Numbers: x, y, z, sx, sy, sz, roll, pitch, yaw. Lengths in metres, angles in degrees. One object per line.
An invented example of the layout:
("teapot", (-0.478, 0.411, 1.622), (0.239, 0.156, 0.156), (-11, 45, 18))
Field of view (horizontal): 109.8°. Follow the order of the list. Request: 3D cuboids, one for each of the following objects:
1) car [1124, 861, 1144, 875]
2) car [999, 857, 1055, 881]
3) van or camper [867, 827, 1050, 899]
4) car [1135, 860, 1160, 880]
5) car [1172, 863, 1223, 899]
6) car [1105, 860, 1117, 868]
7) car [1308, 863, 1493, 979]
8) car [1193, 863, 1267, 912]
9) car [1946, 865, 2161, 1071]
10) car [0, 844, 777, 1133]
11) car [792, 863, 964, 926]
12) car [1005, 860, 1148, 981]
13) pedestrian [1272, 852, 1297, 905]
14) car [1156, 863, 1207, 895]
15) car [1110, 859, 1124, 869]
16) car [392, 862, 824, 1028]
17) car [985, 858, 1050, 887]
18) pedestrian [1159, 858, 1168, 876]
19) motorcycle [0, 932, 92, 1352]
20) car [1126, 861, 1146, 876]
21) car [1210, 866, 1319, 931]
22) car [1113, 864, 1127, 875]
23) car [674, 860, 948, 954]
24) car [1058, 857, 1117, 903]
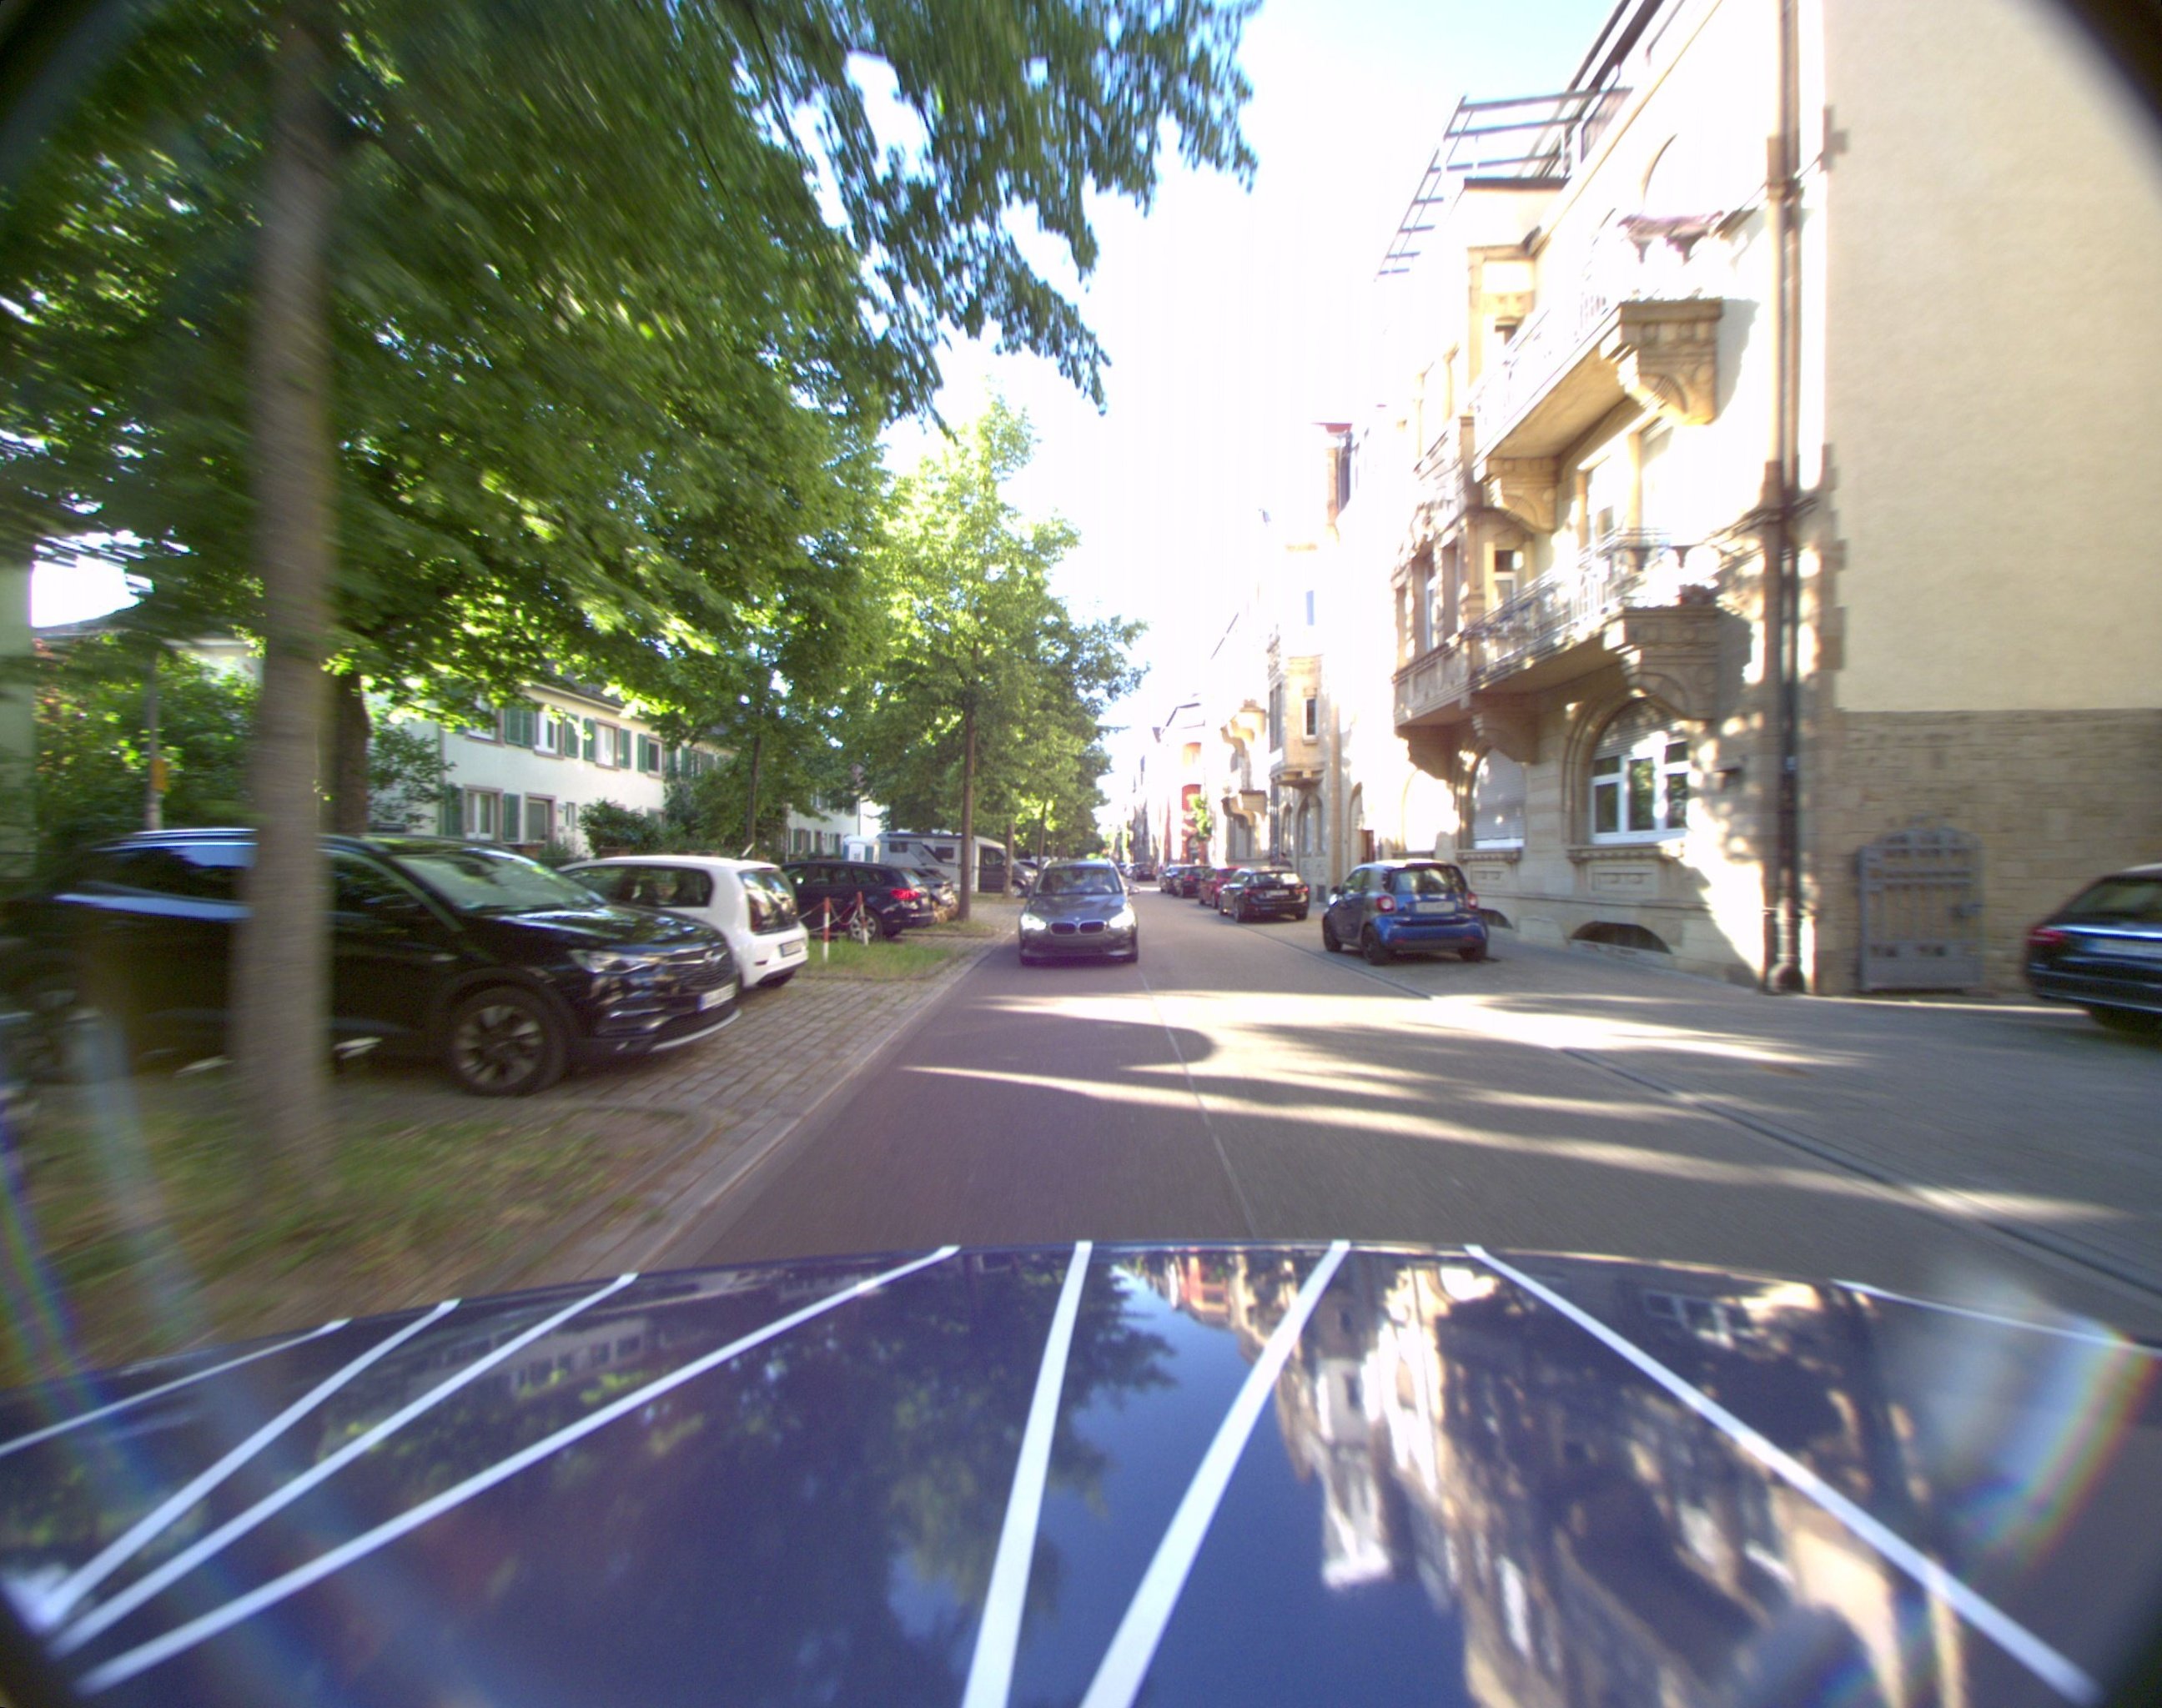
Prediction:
("car", (5.967, 1.589, 86.459), (1.998, 1.514, 4.000), (-2, 0, 1))
("car", (-4.231, 1.163, 59.617), (3.994, 1.870, 2.002), (0, 0, 10))
("van or camper", (-5.016, 0.353, 31.954), (7.266, 2.887, 2.427), (0, 1, 1))
("car", (5.755, 1.405, 66.196), (1.862, 1.594, 4.000), (-2, 0, 0))
("car", (5.160, 1.154, 34.054), (1.747, 1.457, 3.999), (-2, 0, 2))
("car", (6.544, 2.175, 167.098), (2.000, 1.529, 3.998), (-2, 0, -7))
("car", (4.909, 0.959, 12.085), (1.688, 1.500, 2.861), (-4, 0, 1))
("car", (5.188, 1.138, 26.960), (1.694, 1.457, 3.773), (-4, 0, -1))
("car", (9.975, 0.798, 5.730), (4.400, 1.429, 2.069), (-1, 0, 3))
("car", (-4.749, 0.792, 5.429), (4.344, 1.599, 1.928), (2, 1, -1))
("car", (-5.174, 1.006, 19.832), (3.998, 1.510, 1.999), (0, 1, -2))
("car", (-0.020, 0.942, 12.851), (1.924, 1.597, 4.517), (-3, 0, 1))
("pedestrian", (7.144, 0.860, 26.677), (0.695, 1.837, 0.497), (-2, 0, 2))
("car", (5.167, 1.280, 39.776), (1.893, 1.448, 4.511), (-4, -1, -1))
("car", (5.371, 1.462, 114.659), (1.987, 1.549, 3.833), (0, 0, 0))
("car", (-4.744, 0.866, 7.991), (3.456, 1.466, 1.694), (1, 0, 1))
("car", (-4.025, 1.173, 48.573), (3.997, 1.803, 2.000), (0, 0, 1))
("pedestrian", (7.839, 1.265, 72.308), (0.779, 1.692, 1.010), (0, 0, 1))
("motorcycle", (-3.628, 0.903, 2.143), (0.739, 1.190, 1.771), (0, 0, -43))
("car", (5.909, 1.539, 82.243), (1.922, 1.510, 4.000), (0, 0, 0))
("car", (4.951, 1.145, 21.163), (1.905, 1.430, 4.542), (-4, 0, 0))
("car", (5.290, 2.046, 102.561), (1.702, 1.372, 4.000), (0, 0, 1))
("car", (-4.922, 0.931, 14.255), (4.468, 1.469, 1.753), (2, 0, 2))
("car", (0.269, 0.927, 28.970), (1.998, 1.510, 4.652), (-2, 0, 1))
